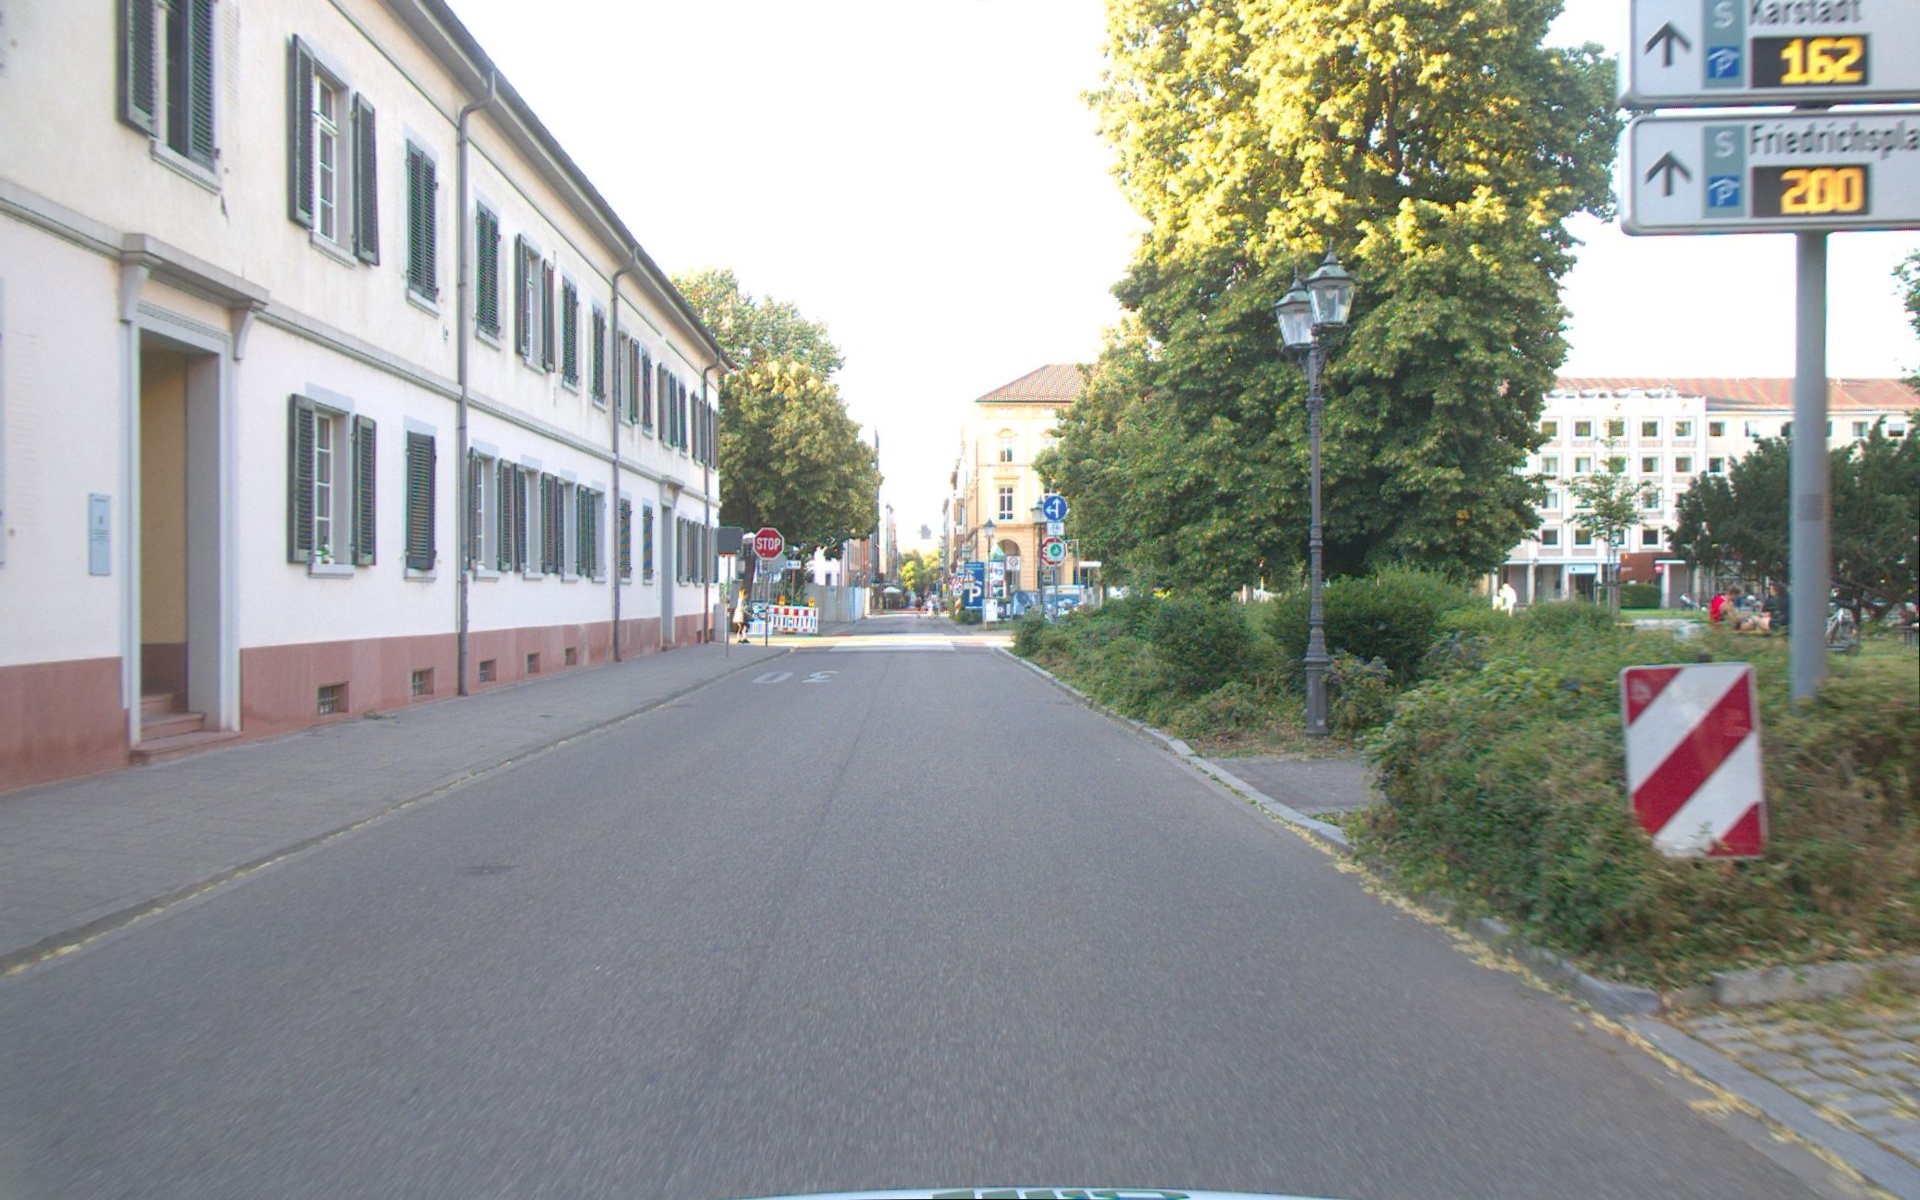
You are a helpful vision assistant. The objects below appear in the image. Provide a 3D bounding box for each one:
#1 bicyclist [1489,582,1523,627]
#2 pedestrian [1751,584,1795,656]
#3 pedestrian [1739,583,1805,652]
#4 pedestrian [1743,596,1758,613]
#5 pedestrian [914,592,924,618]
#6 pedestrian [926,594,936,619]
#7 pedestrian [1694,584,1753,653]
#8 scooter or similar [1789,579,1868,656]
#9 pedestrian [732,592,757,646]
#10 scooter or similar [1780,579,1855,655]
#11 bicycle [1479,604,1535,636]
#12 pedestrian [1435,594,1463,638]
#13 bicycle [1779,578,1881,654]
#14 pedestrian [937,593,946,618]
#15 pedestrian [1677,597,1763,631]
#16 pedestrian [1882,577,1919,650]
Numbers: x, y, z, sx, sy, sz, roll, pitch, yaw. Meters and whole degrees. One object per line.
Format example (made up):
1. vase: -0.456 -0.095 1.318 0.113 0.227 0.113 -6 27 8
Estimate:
1. bicyclist: 19.988 0.160 60.567 1.041 1.661 0.595 0 0 -11
2. pedestrian: 14.000 0.337 28.486 0.649 1.212 0.794 -1 0 26
3. pedestrian: 14.525 0.312 29.600 0.790 1.212 0.789 -1 0 2
4. pedestrian: 46.523 0.263 97.384 0.504 0.941 0.616 -1 0 -27
5. pedestrian: -2.823 0.361 113.601 0.644 1.790 0.745 -1 0 -1
6. pedestrian: -1.940 0.427 111.830 0.644 1.645 0.745 -1 0 -1
7. pedestrian: 13.768 0.332 29.843 0.707 1.212 0.747 -1 0 2
8. scooter or similar: 14.658 0.296 27.905 1.196 1.267 0.417 -1 0 -15
9. pedestrian: -6.896 0.611 52.977 0.719 1.719 0.836 0 0 -2
10. scooter or similar: 14.796 0.289 28.526 1.197 1.267 0.416 -1 0 -18
11. bicycle: 20.015 0.742 60.549 1.892 1.141 0.595 0 0 -11
12. pedestrian: 15.472 0.505 52.350 0.585 1.365 0.817 0 0 -7
13. bicycle: 15.664 0.280 29.829 0.607 1.322 2.016 -1 0 -6
14. pedestrian: -1.250 0.379 111.877 0.644 1.645 0.745 -1 0 -1
15. pedestrian: 13.330 0.249 29.045 0.532 0.559 1.369 -4 1 -20
16. pedestrian: 18.205 0.250 31.347 0.902 1.371 0.881 -1 0 -17
